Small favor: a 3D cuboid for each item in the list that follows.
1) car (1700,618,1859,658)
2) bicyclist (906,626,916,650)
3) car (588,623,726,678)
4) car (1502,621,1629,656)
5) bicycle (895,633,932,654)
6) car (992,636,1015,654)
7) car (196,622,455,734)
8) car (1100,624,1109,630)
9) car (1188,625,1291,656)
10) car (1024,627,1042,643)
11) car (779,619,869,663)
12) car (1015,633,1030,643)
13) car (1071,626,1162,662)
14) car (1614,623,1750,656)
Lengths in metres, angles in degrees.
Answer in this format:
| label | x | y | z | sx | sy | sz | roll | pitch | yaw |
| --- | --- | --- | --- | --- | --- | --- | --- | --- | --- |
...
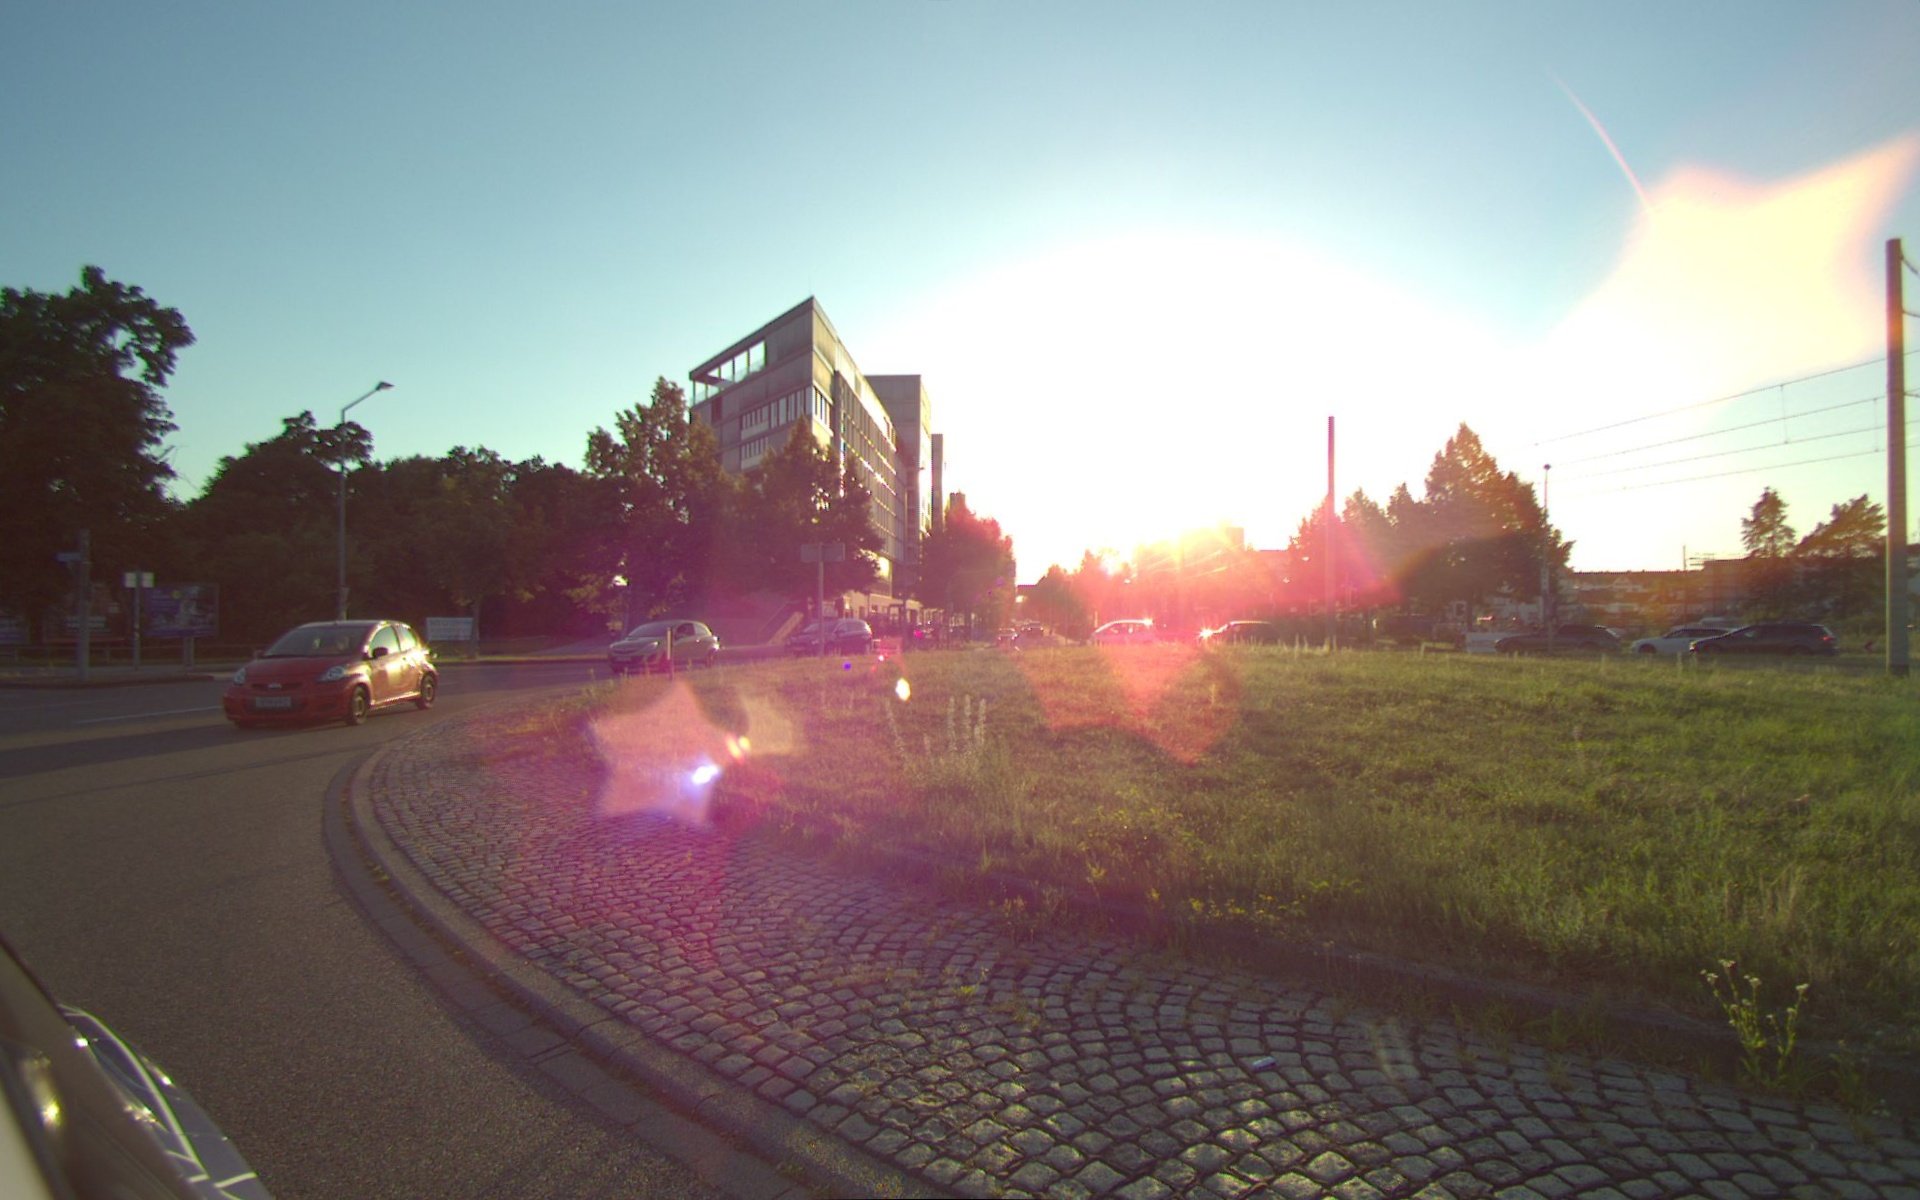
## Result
| label | x | y | z | sx | sy | sz | roll | pitch | yaw |
| --- | --- | --- | --- | --- | --- | --- | --- | --- | --- |
| car | 30.627 | 1.398 | 37.913 | 1.969 | 1.386 | 4.389 | 1 | -2 | -42 |
| bicyclist | -3.073 | 2.366 | 62.985 | 0.602 | 1.451 | 0.692 | 0 | -1 | -2 |
| car | -8.461 | 1.378 | 28.627 | 1.678 | 1.431 | 3.971 | -1 | -1 | 22 |
| car | 25.725 | 1.609 | 43.099 | 4.351 | 1.386 | 1.972 | -1 | -2 | 42 |
| bicycle | -2.892 | 2.691 | 63.002 | 2.315 | 1.254 | 0.742 | 0 | -1 | 0 |
| car | 3.700 | 3.799 | 85.710 | 1.730 | 1.389 | 4.118 | 0 | -1 | 6 |
| car | -9.264 | 1.056 | 15.209 | 1.664 | 1.431 | 4.004 | 0 | -1 | -5 |
| car | 35.370 | 6.567 | 247.215 | 1.976 | 1.464 | 3.992 | 0 | -1 | 6 |
| car | 13.195 | 1.902 | 47.954 | 4.325 | 1.386 | 1.999 | 0 | -1 | 2 |
| car | 8.761 | 4.261 | 121.567 | 1.974 | 1.827 | 5.300 | -2 | -2 | 3 |
| car | -5.203 | 1.544 | 39.317 | 1.720 | 1.590 | 4.302 | 0 | -1 | 19 |
| car | 9.148 | 5.533 | 147.500 | 1.973 | 1.464 | 3.998 | 0 | -1 | 1 |
| car | 7.339 | 2.052 | 47.709 | 3.831 | 1.592 | 1.958 | 0 | -1 | -7 |
| car | 31.832 | 1.696 | 44.727 | 2.076 | 1.377 | 4.476 | 1 | -1 | -37 |
